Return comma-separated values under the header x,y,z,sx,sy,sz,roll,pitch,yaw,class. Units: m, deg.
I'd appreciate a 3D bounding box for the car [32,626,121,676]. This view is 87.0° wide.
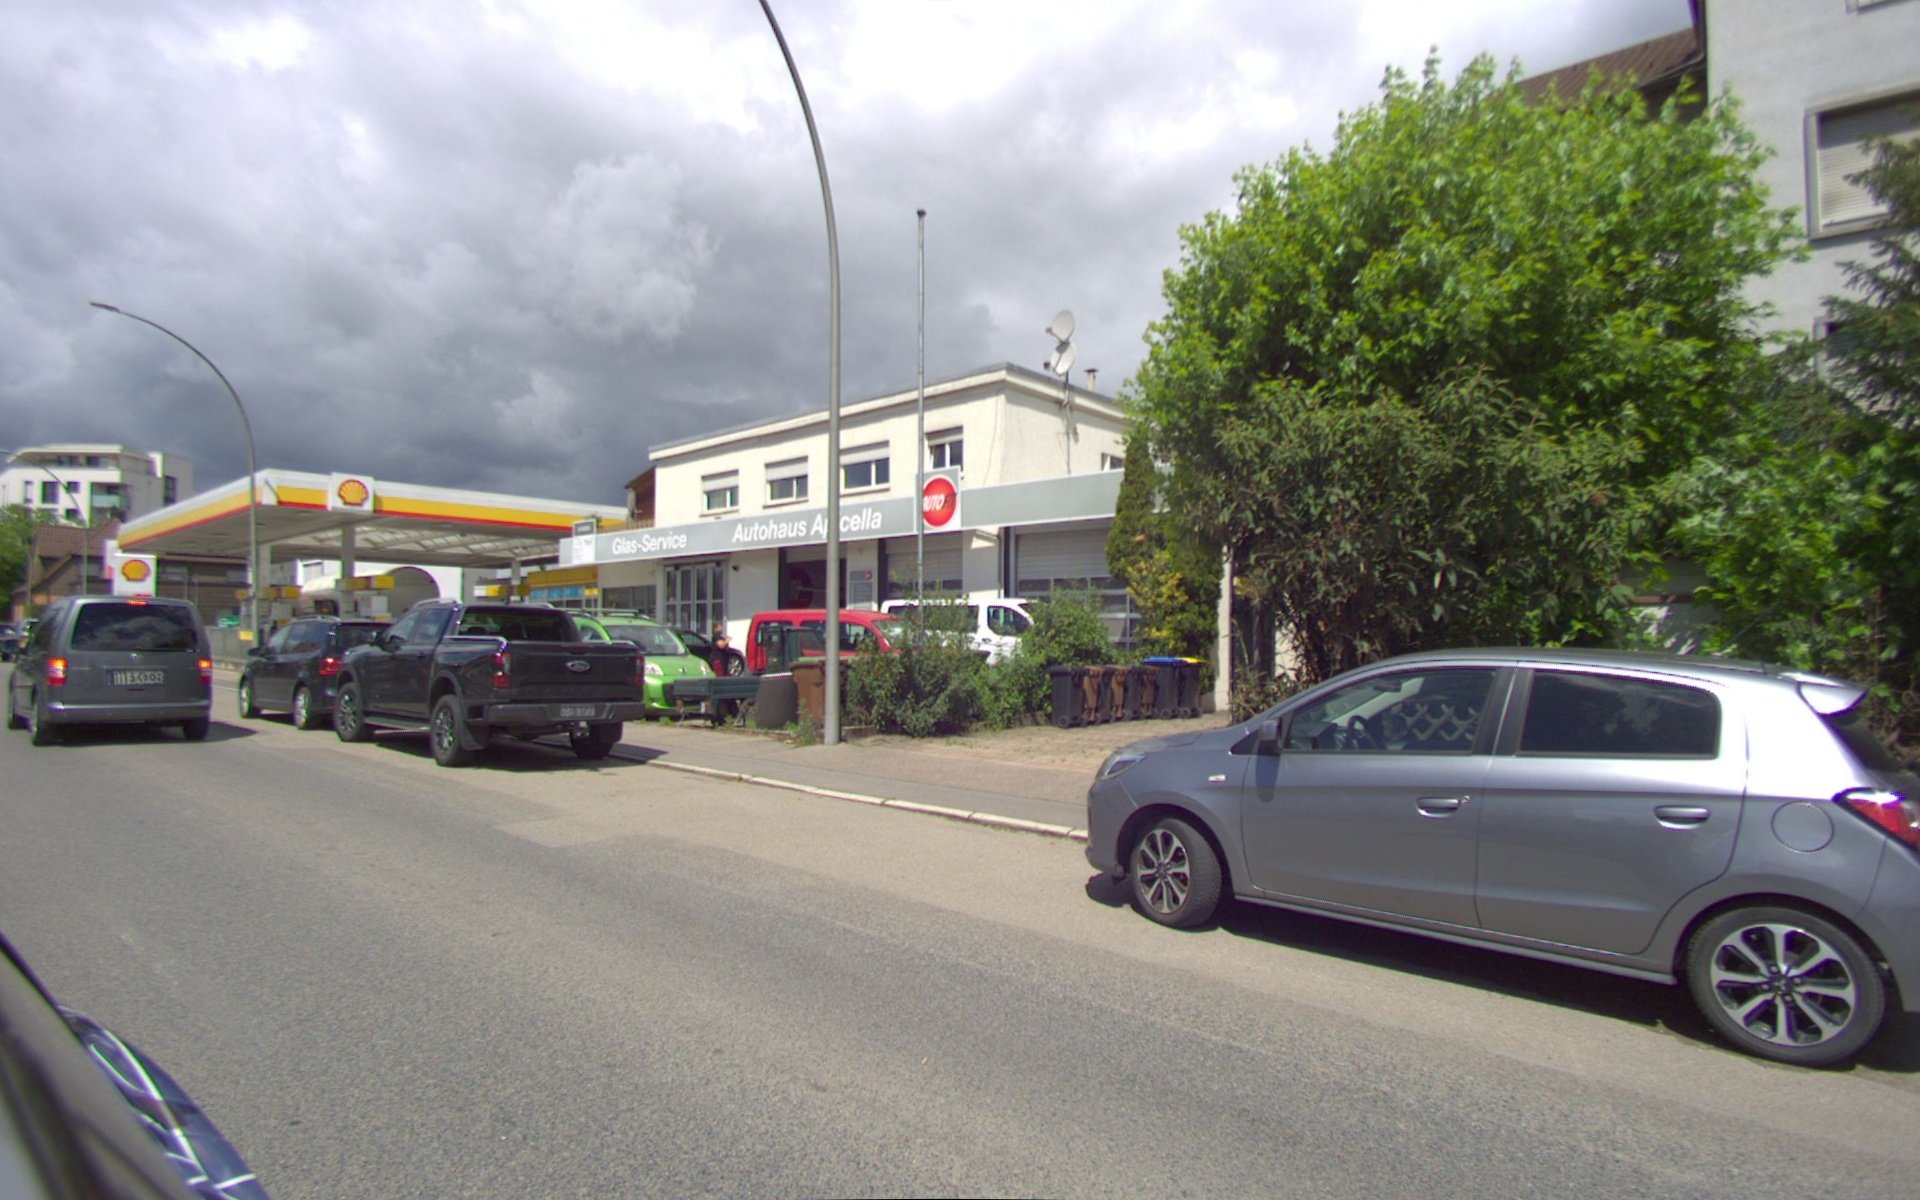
x,y,z,sx,sy,sz,roll,pitch,yaw,class
-29.929,1.696,34.252,4.188,1.526,1.645,-1,-6,42,car

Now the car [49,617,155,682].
x,y,z,sx,sy,sz,roll,pitch,yaw,class
-25.825,1.478,30.420,4.188,1.751,1.711,-1,-6,42,car

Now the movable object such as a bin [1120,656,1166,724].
x,y,z,sx,sy,sz,roll,pitch,yaw,class
3.123,1.521,17.236,0.543,1.089,0.564,-1,-1,43,movable object such as a bin

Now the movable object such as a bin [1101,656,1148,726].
x,y,z,sx,sy,sz,roll,pitch,yaw,class
2.741,1.498,16.823,0.543,1.089,0.564,-1,-1,43,movable object such as a bin

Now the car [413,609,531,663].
x,y,z,sx,sy,sz,roll,pitch,yaw,class
-17.972,1.308,37.573,1.948,1.866,4.982,0,-2,0,car

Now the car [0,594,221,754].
x,y,z,sx,sy,sz,roll,pitch,yaw,class
-11.509,0.905,13.512,4.335,1.809,1.645,-1,-4,41,car

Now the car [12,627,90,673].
x,y,z,sx,sy,sz,roll,pitch,yaw,class
-33.675,1.840,37.466,3.945,1.526,1.644,-1,-6,43,car

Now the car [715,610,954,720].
x,y,z,sx,sy,sz,roll,pitch,yaw,class
-2.408,1.120,19.100,4.323,1.799,1.779,0,1,31,car

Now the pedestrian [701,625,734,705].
x,y,z,sx,sy,sz,roll,pitch,yaw,class
-4.901,1.305,20.456,0.493,1.570,0.408,-1,-1,41,pedestrian

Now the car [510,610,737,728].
x,y,z,sx,sy,sz,roll,pitch,yaw,class
-5.931,1.106,17.598,4.336,1.799,1.773,-1,-2,41,car

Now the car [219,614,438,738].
x,y,z,sx,sy,sz,roll,pitch,yaw,class
-10.031,1.116,15.922,4.525,1.693,1.645,-1,-4,42,car

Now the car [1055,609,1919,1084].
x,y,z,sx,sy,sz,roll,pitch,yaw,class
2.556,0.880,4.877,3.943,1.522,1.645,-1,-6,42,car

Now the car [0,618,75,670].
x,y,z,sx,sy,sz,roll,pitch,yaw,class
-37.071,1.733,40.399,4.311,1.882,1.767,-1,-6,39,car

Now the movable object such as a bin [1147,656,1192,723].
x,y,z,sx,sy,sz,roll,pitch,yaw,class
3.644,1.541,17.594,0.543,1.089,0.564,-1,-1,43,movable object such as a bin

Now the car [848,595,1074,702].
x,y,z,sx,sy,sz,roll,pitch,yaw,class
0.004,0.923,21.003,4.317,1.995,1.865,0,0,27,car

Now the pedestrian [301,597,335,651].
x,y,z,sx,sy,sz,roll,pitch,yaw,class
-26.636,1.003,41.956,1.011,2.195,0.928,-1,-1,41,pedestrian

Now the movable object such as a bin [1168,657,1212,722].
x,y,z,sx,sy,sz,roll,pitch,yaw,class
4.083,1.581,17.998,0.543,1.089,0.564,-1,-1,43,movable object such as a bin

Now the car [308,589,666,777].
x,y,z,sx,sy,sz,roll,pitch,yaw,class
-5.999,0.940,12.447,5.427,1.835,1.890,-1,-6,42,car
